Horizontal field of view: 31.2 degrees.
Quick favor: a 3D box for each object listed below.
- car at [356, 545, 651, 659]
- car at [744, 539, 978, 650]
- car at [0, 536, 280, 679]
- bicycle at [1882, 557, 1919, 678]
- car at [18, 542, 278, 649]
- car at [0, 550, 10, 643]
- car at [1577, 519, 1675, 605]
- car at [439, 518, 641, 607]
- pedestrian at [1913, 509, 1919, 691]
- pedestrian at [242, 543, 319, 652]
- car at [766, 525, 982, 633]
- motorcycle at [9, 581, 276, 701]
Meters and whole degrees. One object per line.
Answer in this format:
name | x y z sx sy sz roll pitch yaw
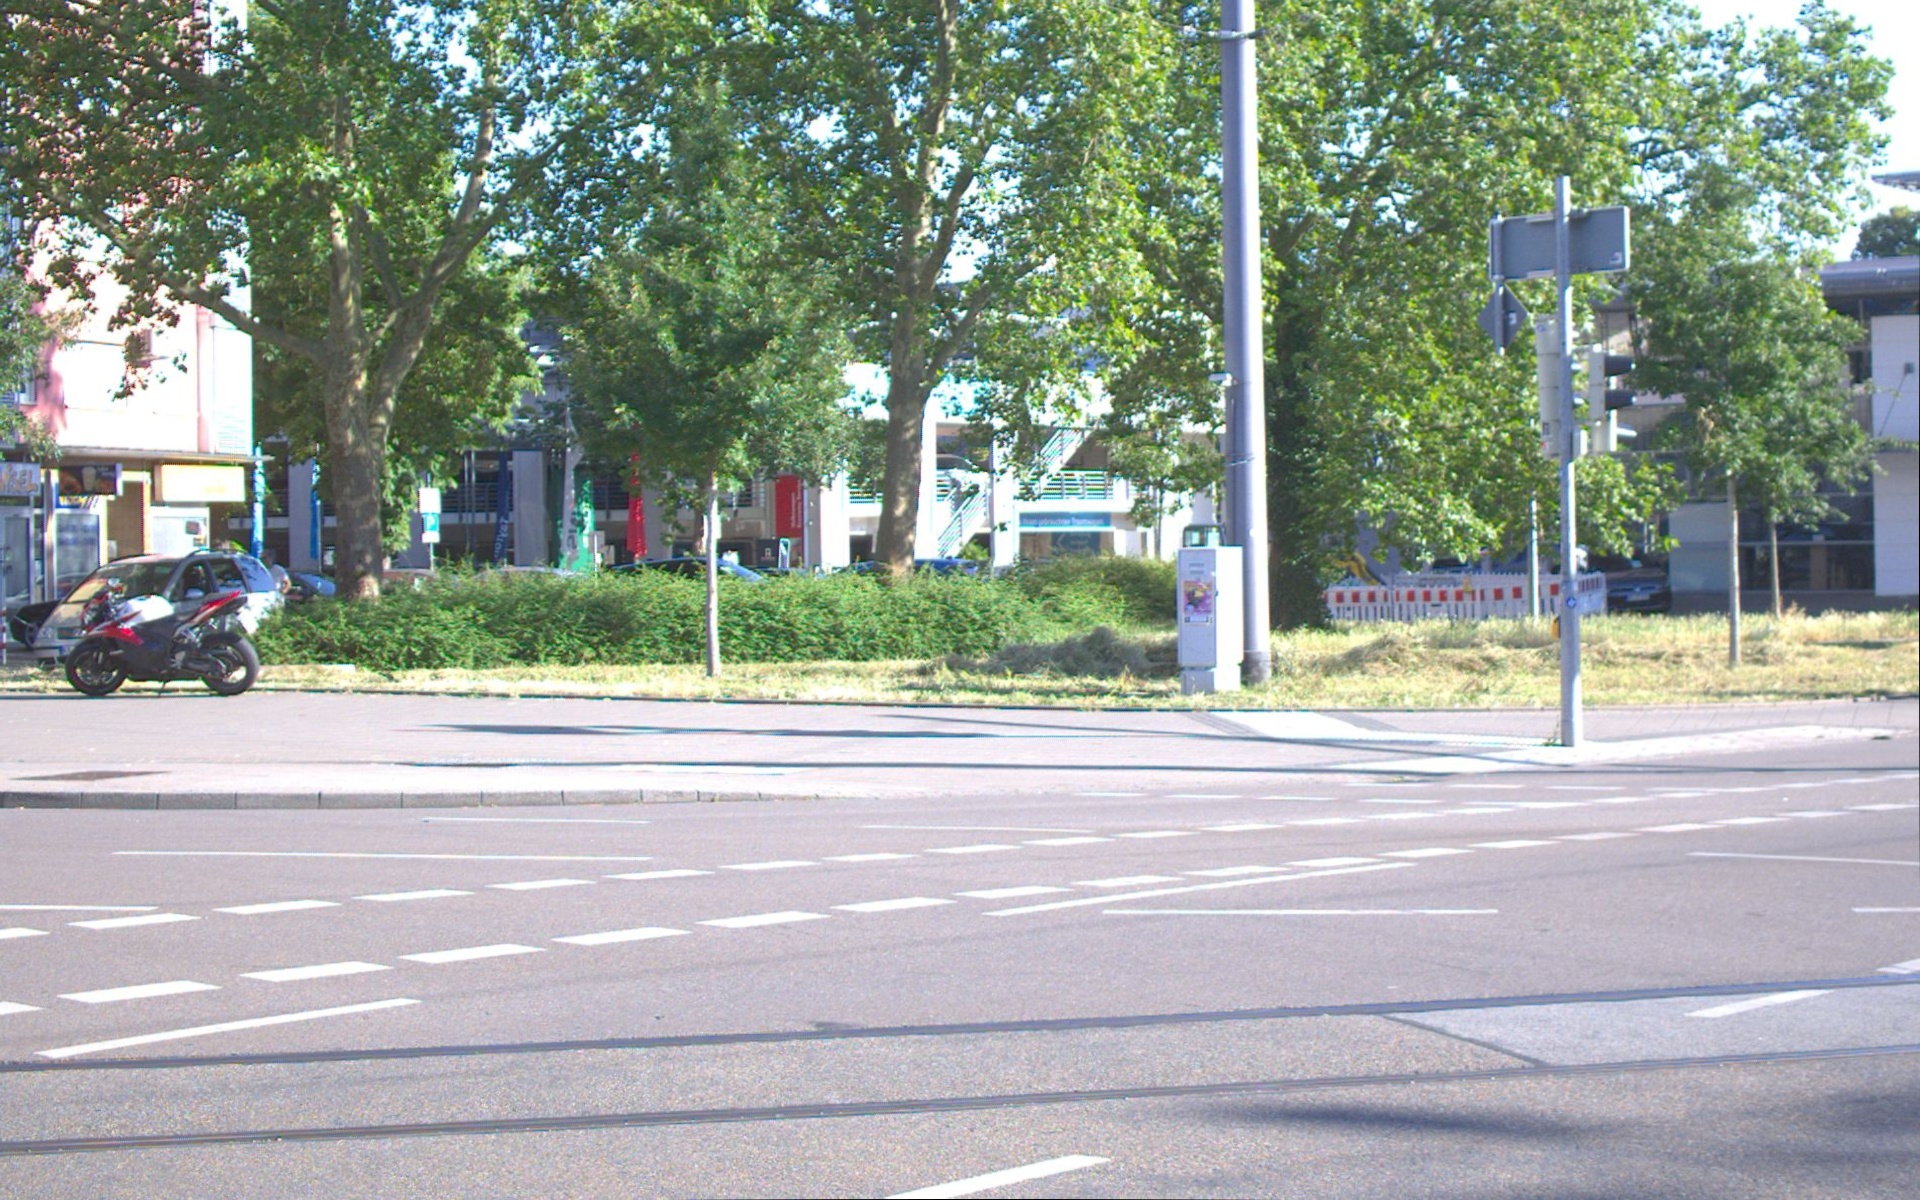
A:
car | -6.354 0.009 48.173 3.986 1.505 1.800 -1 1 -4
car | -1.845 -0.126 64.464 3.990 1.862 1.855 2 3 14
car | -11.060 0.068 46.569 1.917 1.692 3.997 -3 1 16
bicycle | 10.047 0.163 33.080 2.524 1.119 1.034 -1 4 -42
car | -14.076 -0.100 59.622 3.990 1.629 1.855 2 3 17
car | -16.813 -0.091 52.643 3.990 1.415 1.855 2 3 17
car | 15.089 -0.884 78.047 1.794 1.504 4.001 2 6 6
car | -9.283 -0.851 75.991 3.990 1.773 1.855 2 3 17
pedestrian | 9.993 -0.118 33.010 1.267 2.006 1.034 -1 3 -42
pedestrian | -11.214 -0.046 56.774 0.885 1.731 0.903 2 3 19
car | -1.739 -0.446 69.951 3.990 1.992 1.855 2 3 14
motorcycle | -7.792 0.385 32.869 2.274 1.070 1.041 -1 2 1
